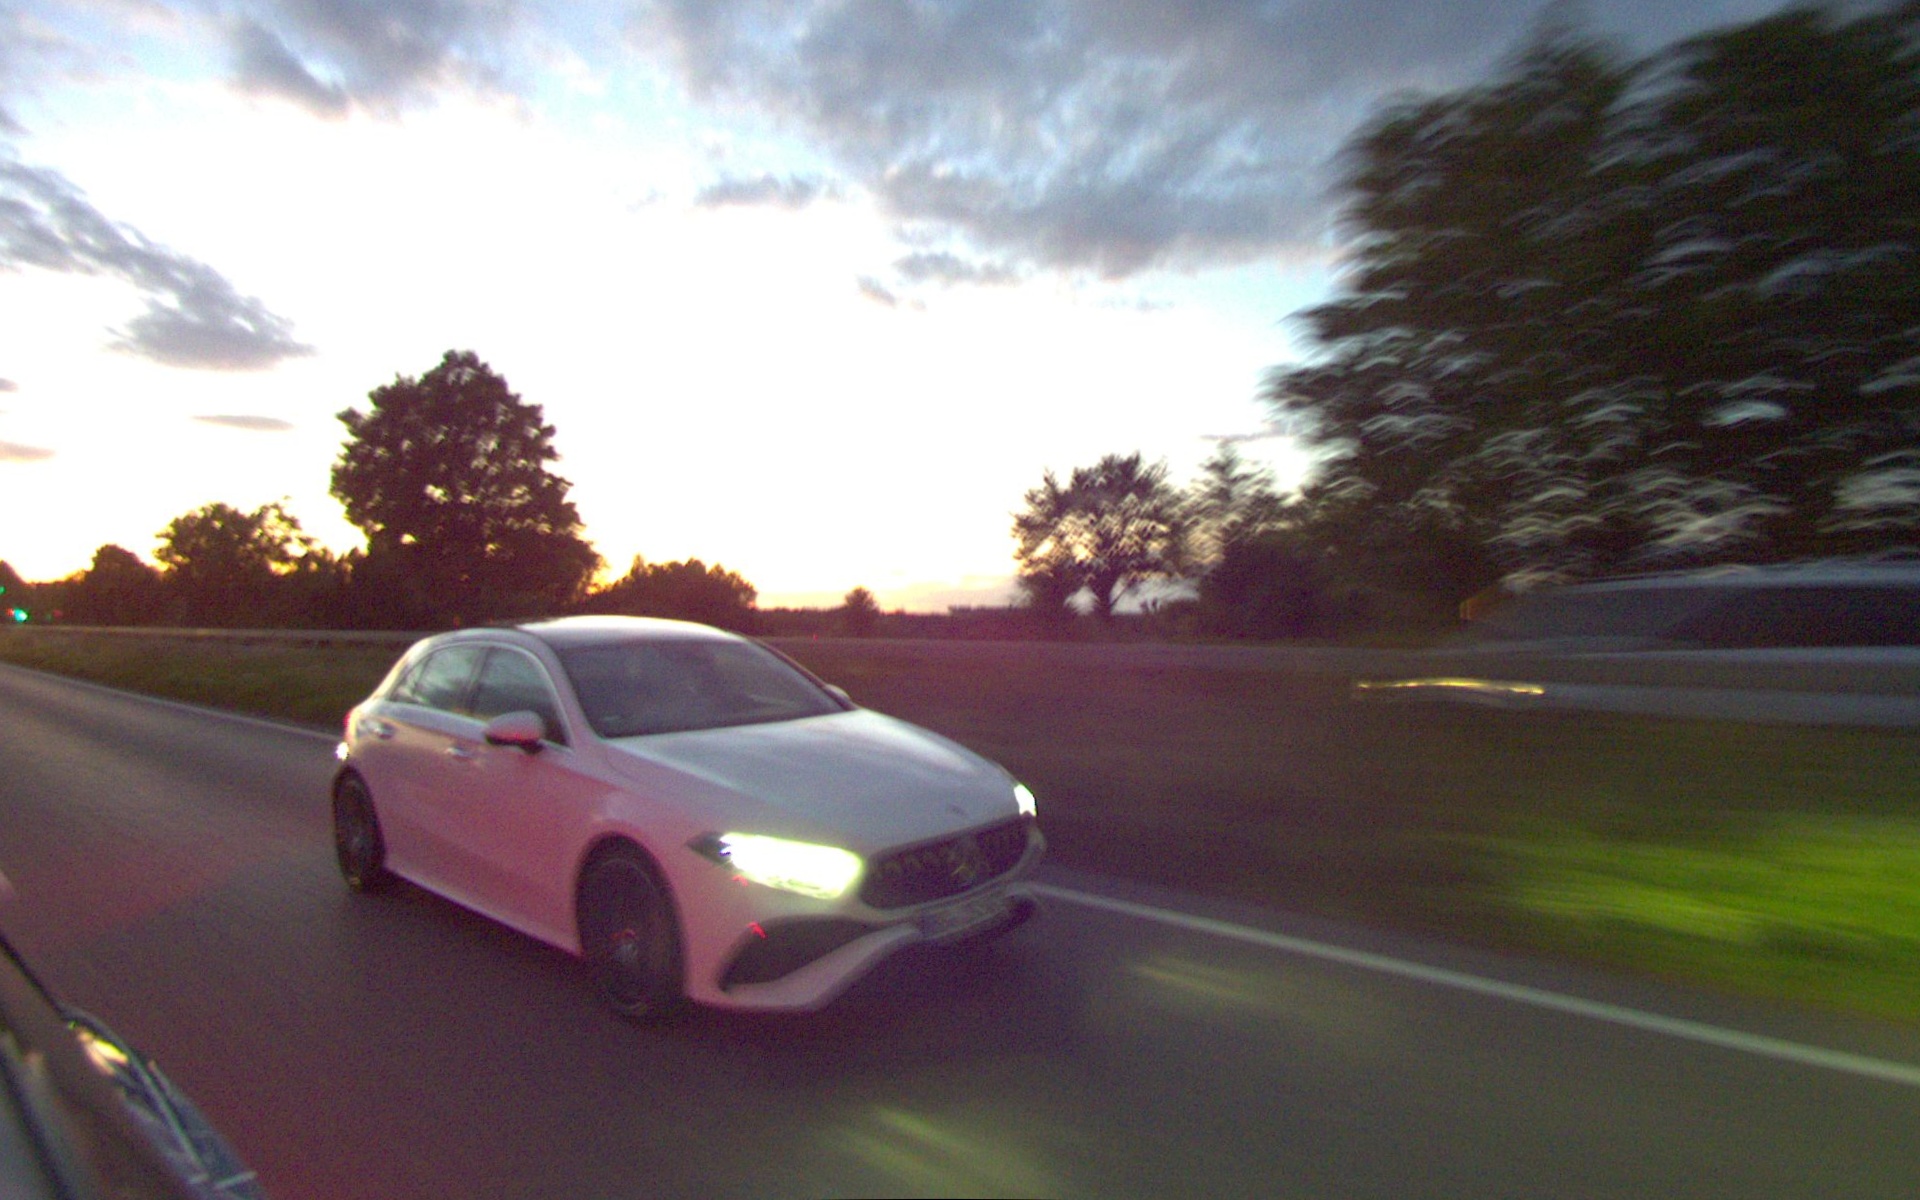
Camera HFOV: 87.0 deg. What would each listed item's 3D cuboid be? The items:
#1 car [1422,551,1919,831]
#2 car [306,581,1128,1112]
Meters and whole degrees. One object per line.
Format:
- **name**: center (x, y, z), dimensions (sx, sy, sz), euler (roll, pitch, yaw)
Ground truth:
- **car**: center (7.207, 0.695, 8.962), dimensions (5.343, 2.115, 1.945), euler (-1, -1, 40)
- **car**: center (-1.568, 0.720, 4.999), dimensions (4.578, 1.502, 1.625), euler (-1, -1, 41)
